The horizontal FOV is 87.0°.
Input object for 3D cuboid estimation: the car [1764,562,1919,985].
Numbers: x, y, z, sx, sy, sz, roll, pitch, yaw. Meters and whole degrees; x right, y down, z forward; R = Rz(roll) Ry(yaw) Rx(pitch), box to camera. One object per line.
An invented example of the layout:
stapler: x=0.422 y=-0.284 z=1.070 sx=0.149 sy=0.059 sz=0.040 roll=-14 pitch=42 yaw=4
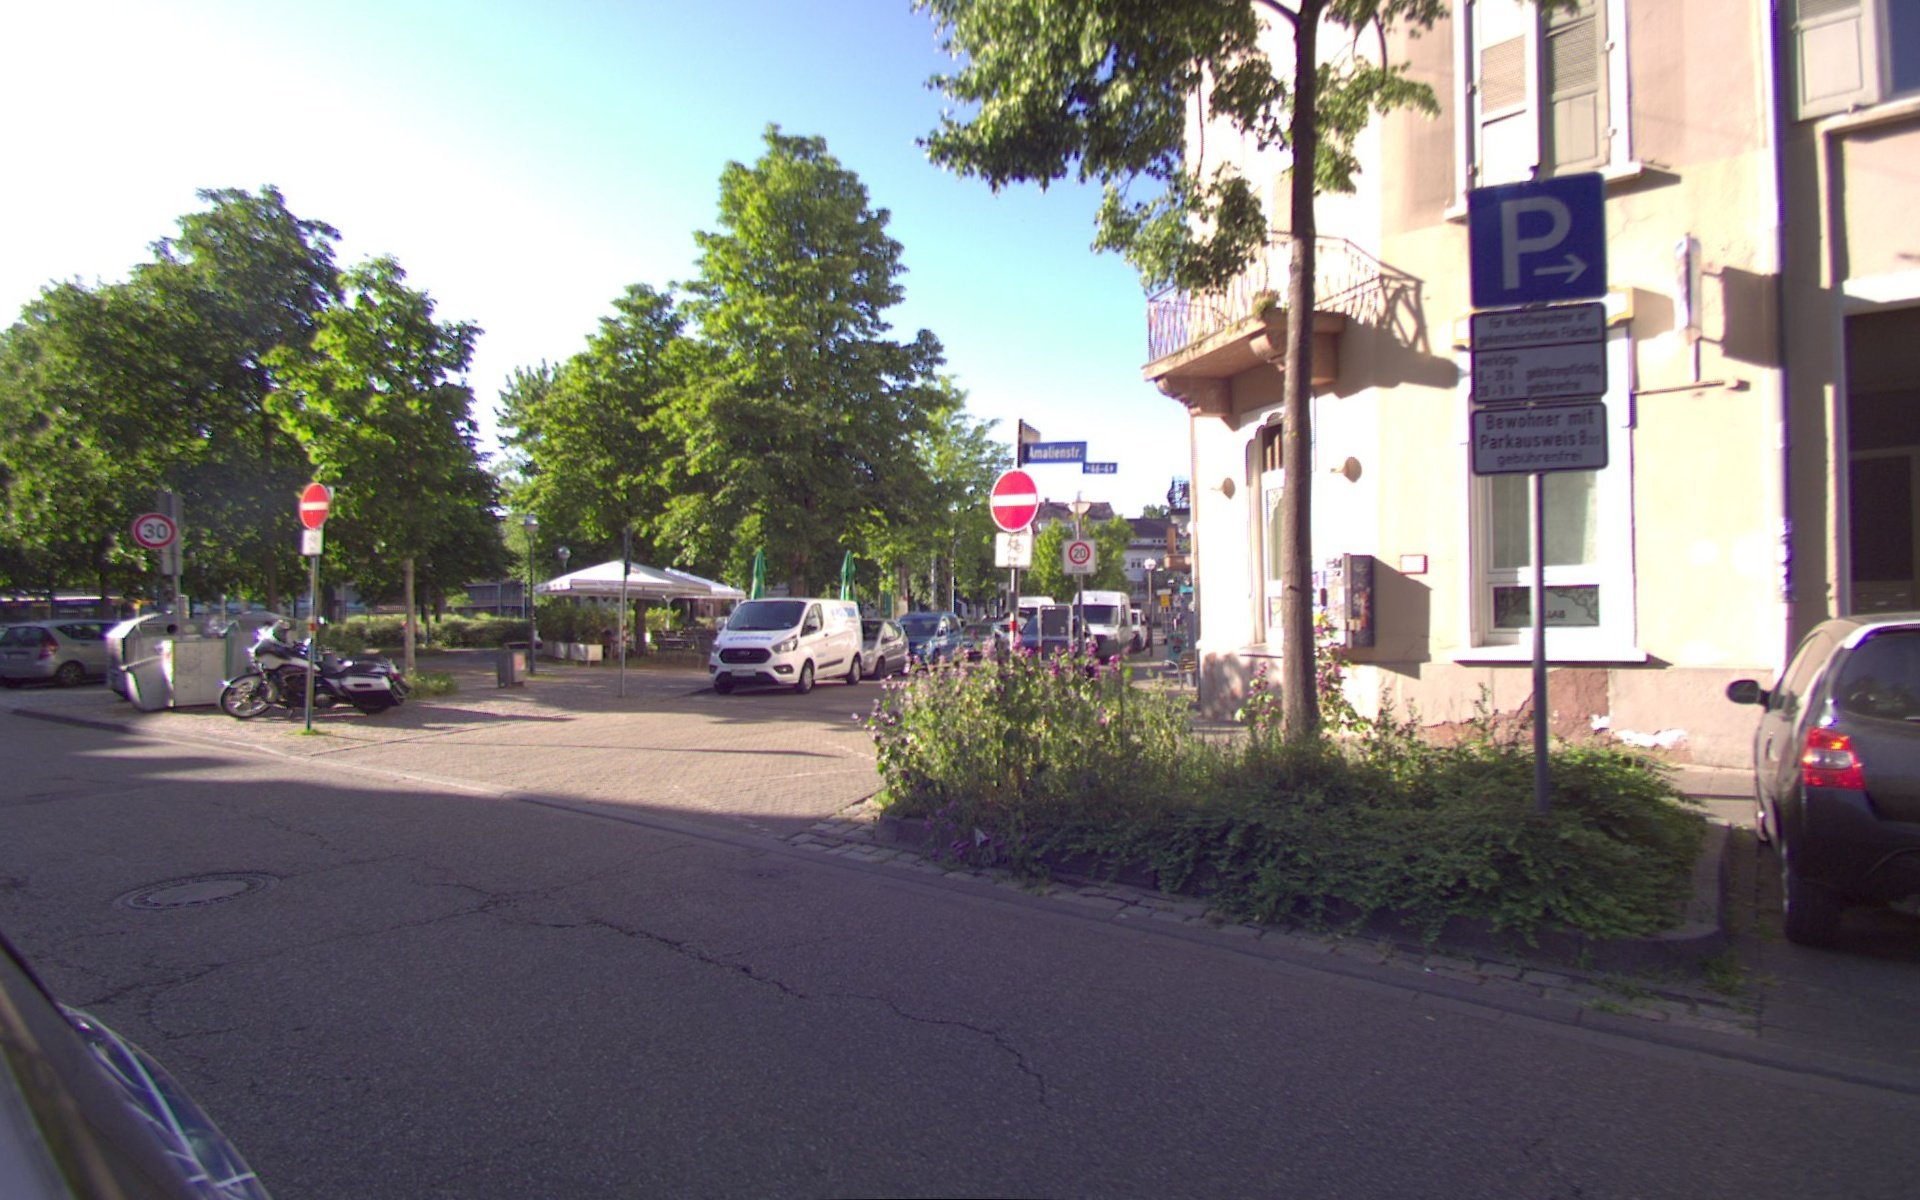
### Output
car: x=5.410 y=0.672 z=5.130 sx=1.943 sy=1.652 sz=3.946 roll=-2 pitch=-1 yaw=40

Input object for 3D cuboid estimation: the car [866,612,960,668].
car: x=-1.393 y=1.258 z=31.810 sx=1.909 sy=1.625 sz=4.134 roll=-1 pitch=-2 yaw=13

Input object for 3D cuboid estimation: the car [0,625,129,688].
car: x=-23.799 y=1.409 z=25.643 sx=1.976 sy=1.453 sz=3.991 roll=-1 pitch=-1 yaw=7

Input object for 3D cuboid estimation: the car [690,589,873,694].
car: x=-3.642 y=0.894 z=21.855 sx=2.053 sy=1.959 sz=5.307 roll=-1 pitch=-2 yaw=12

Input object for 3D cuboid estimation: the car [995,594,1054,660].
car: x=3.324 y=1.408 z=51.234 sx=2.097 sy=3.109 sz=5.873 roll=-1 pitch=-2 yaw=12

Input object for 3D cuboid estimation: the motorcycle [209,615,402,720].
motorcycle: x=-9.617 y=0.957 z=15.012 sx=2.282 sy=1.434 sz=1.004 roll=0 pitch=-1 yaw=-24

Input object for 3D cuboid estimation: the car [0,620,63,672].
car: x=-32.793 y=1.527 z=33.642 sx=2.086 sy=1.657 sz=3.976 roll=1 pitch=0 yaw=18

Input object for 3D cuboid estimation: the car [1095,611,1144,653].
car: x=7.430 y=1.501 z=46.843 sx=1.909 sy=1.802 sz=4.569 roll=-1 pitch=-2 yaw=13

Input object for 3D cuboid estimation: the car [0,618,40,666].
car: x=-34.980 y=1.494 z=35.200 sx=1.984 sy=1.706 sz=3.975 roll=-1 pitch=-1 yaw=19

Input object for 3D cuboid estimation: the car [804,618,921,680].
car: x=-2.505 y=1.286 z=27.067 sx=1.909 sy=1.528 sz=4.134 roll=-1 pitch=-2 yaw=13

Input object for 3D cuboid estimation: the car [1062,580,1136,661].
car: x=5.295 y=0.827 z=37.725 sx=2.191 sy=2.722 sz=6.991 roll=-1 pitch=-2 yaw=12

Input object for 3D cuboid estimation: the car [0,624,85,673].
car: x=-30.630 y=1.535 z=32.062 sx=1.989 sy=1.485 sz=3.966 roll=-1 pitch=-1 yaw=25

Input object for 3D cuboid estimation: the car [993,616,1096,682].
car: x=2.238 y=1.226 z=25.708 sx=1.910 sy=1.528 sz=4.363 roll=-1 pitch=-2 yaw=14

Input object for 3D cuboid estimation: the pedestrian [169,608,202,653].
pedestrian: x=-22.204 y=0.884 z=29.009 sx=0.520 sy=1.266 sz=0.519 roll=0 pitch=-2 yaw=5

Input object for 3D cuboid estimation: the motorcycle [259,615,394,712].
motorcycle: x=-9.970 y=0.975 z=16.005 sx=1.724 sy=1.434 sz=0.832 roll=0 pitch=-1 yaw=-25

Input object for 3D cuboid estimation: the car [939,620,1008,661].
car: x=0.607 y=1.583 z=39.847 sx=1.909 sy=1.528 sz=4.134 roll=-1 pitch=-2 yaw=13

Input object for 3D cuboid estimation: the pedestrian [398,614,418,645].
pedestrian: x=-23.074 y=1.230 z=42.312 sx=0.516 sy=1.266 sz=0.523 roll=-1 pitch=-2 yaw=20

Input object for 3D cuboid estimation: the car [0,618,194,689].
car: x=-21.522 y=1.256 z=24.968 sx=1.976 sy=1.574 sz=3.991 roll=-1 pitch=-1 yaw=7

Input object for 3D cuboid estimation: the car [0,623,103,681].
car: x=-26.233 y=1.417 z=27.636 sx=1.979 sy=1.485 sz=3.984 roll=-1 pitch=-1 yaw=12
